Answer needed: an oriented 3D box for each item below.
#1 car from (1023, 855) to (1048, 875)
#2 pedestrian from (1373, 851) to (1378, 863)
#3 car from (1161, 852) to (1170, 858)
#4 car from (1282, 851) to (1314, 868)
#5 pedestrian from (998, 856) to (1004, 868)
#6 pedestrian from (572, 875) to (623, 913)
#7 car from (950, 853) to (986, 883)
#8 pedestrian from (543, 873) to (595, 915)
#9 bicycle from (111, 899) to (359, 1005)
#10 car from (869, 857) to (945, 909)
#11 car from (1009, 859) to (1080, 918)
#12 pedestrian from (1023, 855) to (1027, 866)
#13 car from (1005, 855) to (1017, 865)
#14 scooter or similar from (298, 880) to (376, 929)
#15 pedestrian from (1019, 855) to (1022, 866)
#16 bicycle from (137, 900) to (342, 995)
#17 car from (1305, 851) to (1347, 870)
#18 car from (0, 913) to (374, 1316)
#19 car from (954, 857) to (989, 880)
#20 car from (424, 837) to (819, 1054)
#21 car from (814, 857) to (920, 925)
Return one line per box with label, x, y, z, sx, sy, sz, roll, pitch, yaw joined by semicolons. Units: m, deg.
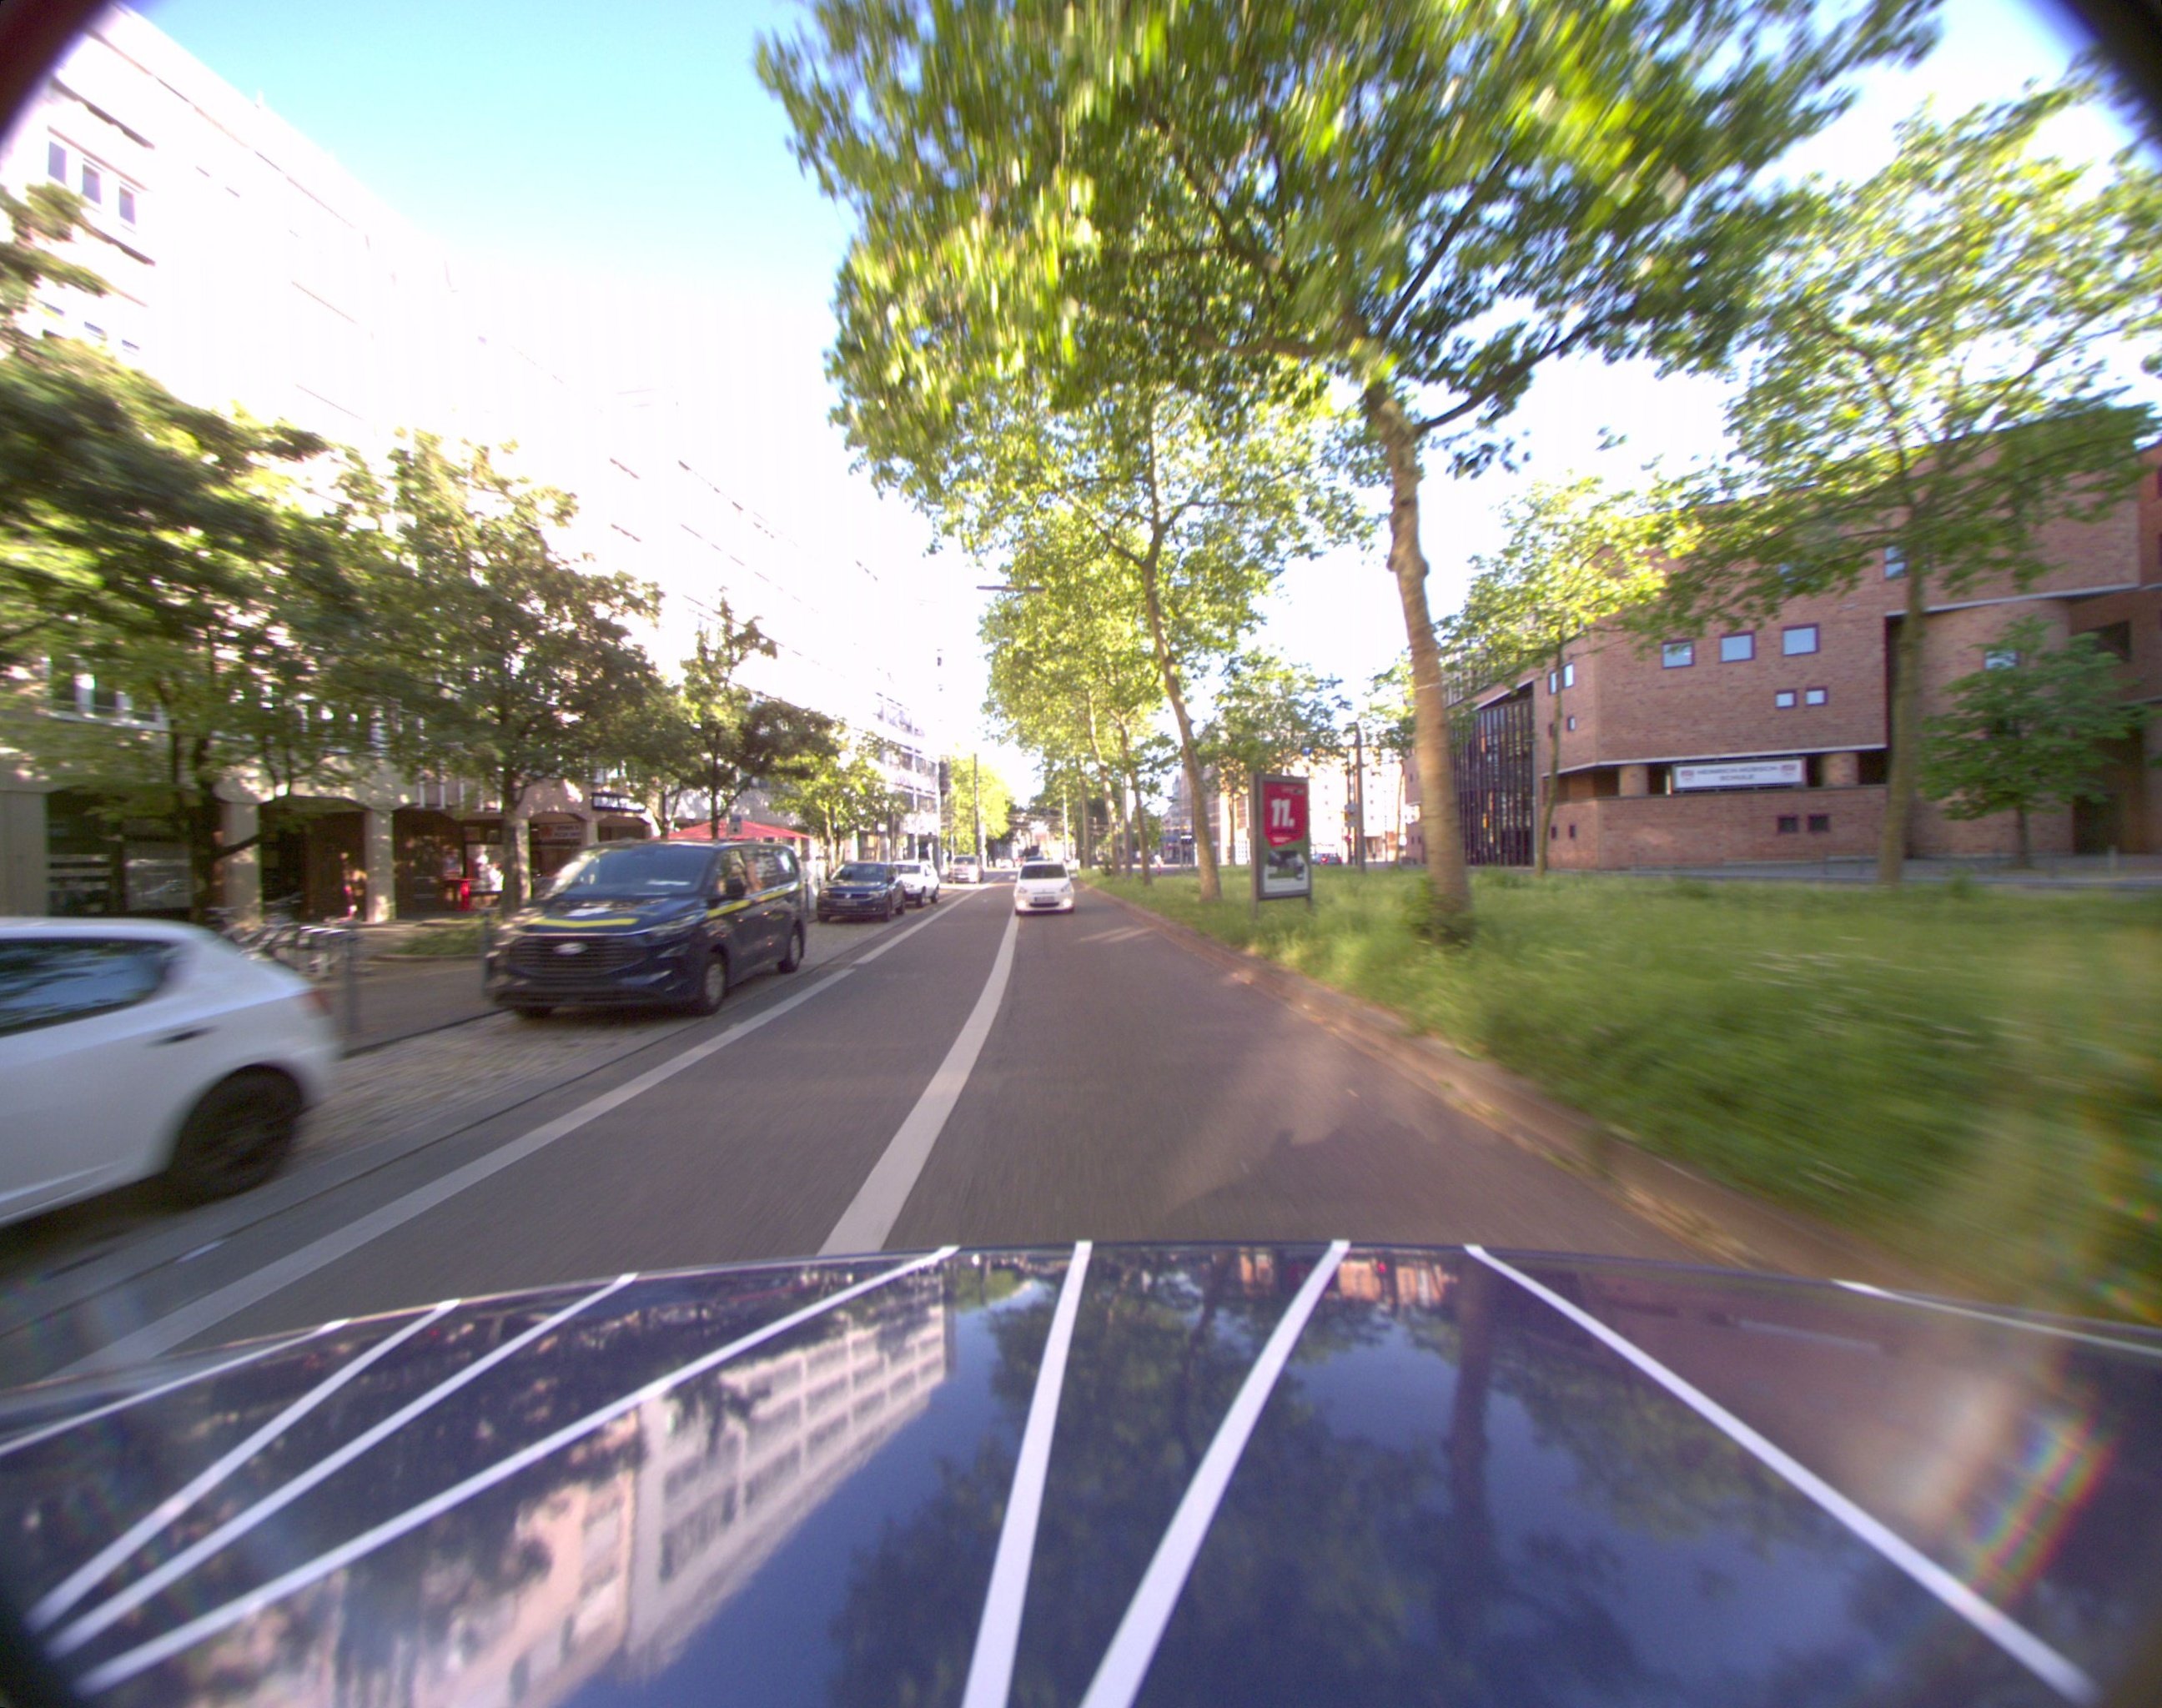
car;-3.825;0.897;64.450;1.999;1.626;4.451;-2;0;-3
pedestrian;37.784;0.373;97.598;0.566;1.495;0.512;-1;-1;19
car;20.939;0.254;188.706;1.703;1.641;4.000;-2;0;0
car;18.725;0.482;65.554;1.617;1.420;3.220;-1;0;-4
pedestrian;-13.892;1.359;132.103;0.645;2.002;0.657;-1;0;28
pedestrian;-16.109;1.317;25.339;0.887;1.205;1.124;-2;0;7
car;-7.528;0.880;50.998;1.922;1.893;4.860;0;0;-3
pedestrian;-16.081;1.244;23.903;0.931;1.243;0.968;-1;0;1
bicycle;-11.677;1.289;10.613;0.654;1.180;2.188;-1;0;25
car;-6.127;0.969;27.213;1.803;1.714;4.459;0;0;-2
car;-0.986;0.947;22.685;1.720;1.442;4.425;-4;0;1
pedestrian;-10.178;1.211;139.008;0.654;2.002;0.741;-1;0;-4
car;-12.514;1.127;135.788;1.866;1.724;4.017;-1;0;-4
scooter or similar;-20.167;1.349;20.626;0.667;1.248;1.363;-2;0;5
pedestrian;-10.625;1.170;133.421;0.614;2.002;0.529;-1;0;-4
bicycle;-12.191;1.302;11.099;0.484;1.148;1.915;-1;0;25
car;19.080;0.481;59.362;1.675;1.420;4.148;-1;0;-4
car;-5.094;1.083;2.425;1.706;1.457;4.175;0;0;1
car;-8.094;1.031;56.599;1.922;1.631;4.017;0;0;1
car;-5.010;0.828;9.431;2.043;1.932;5.196;0;0;-4
car;-5.864;0.942;21.393;1.803;1.714;4.574;0;0;-2
